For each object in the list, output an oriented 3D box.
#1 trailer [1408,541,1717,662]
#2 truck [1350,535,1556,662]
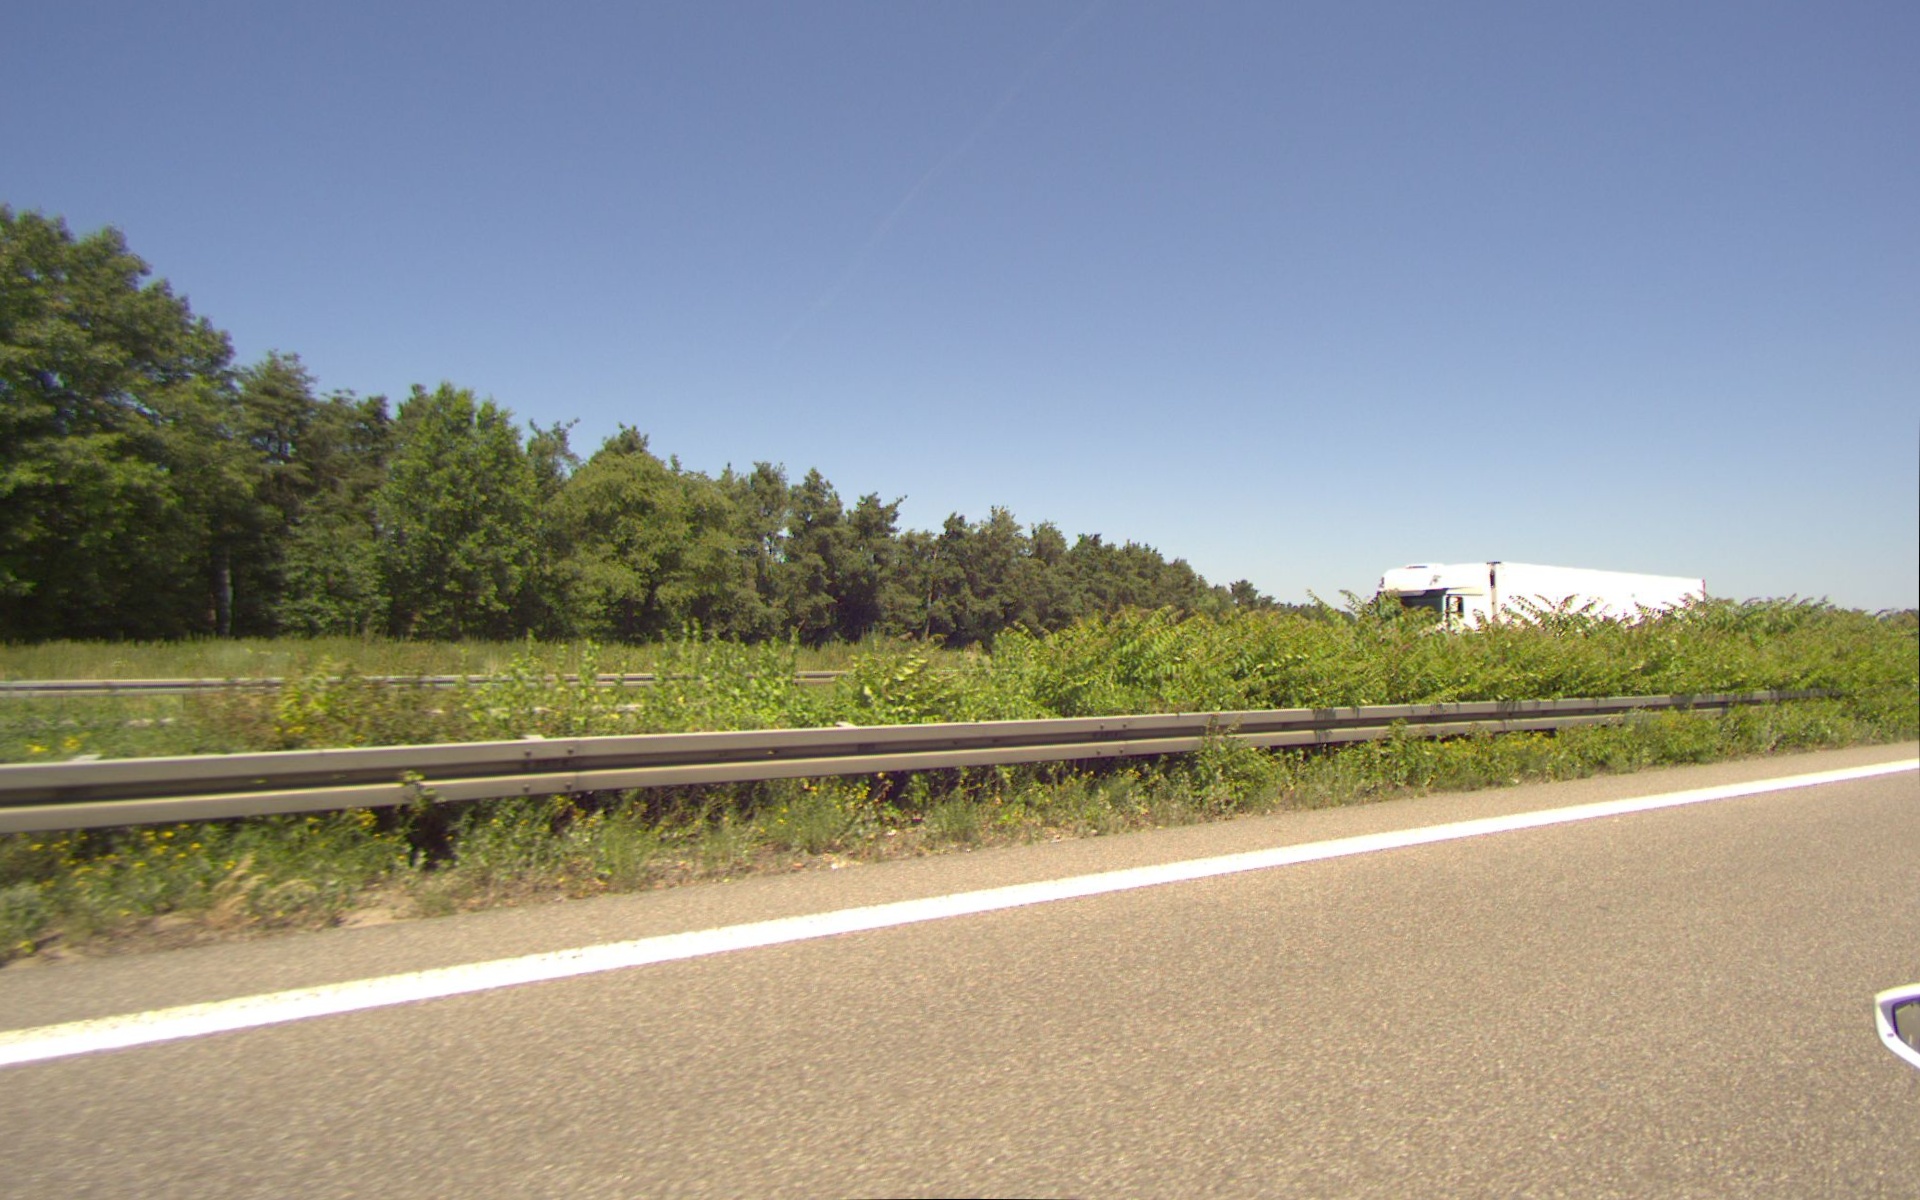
[{"bbox_3d":[21.977,0.213,36.047,14.217,3.748,3.163,2,0,-31],"label":"trailer"},{"bbox_3d":[15.925,0.022,32.405,5.966,3.748,3.164,2,0,-31],"label":"truck"}]
